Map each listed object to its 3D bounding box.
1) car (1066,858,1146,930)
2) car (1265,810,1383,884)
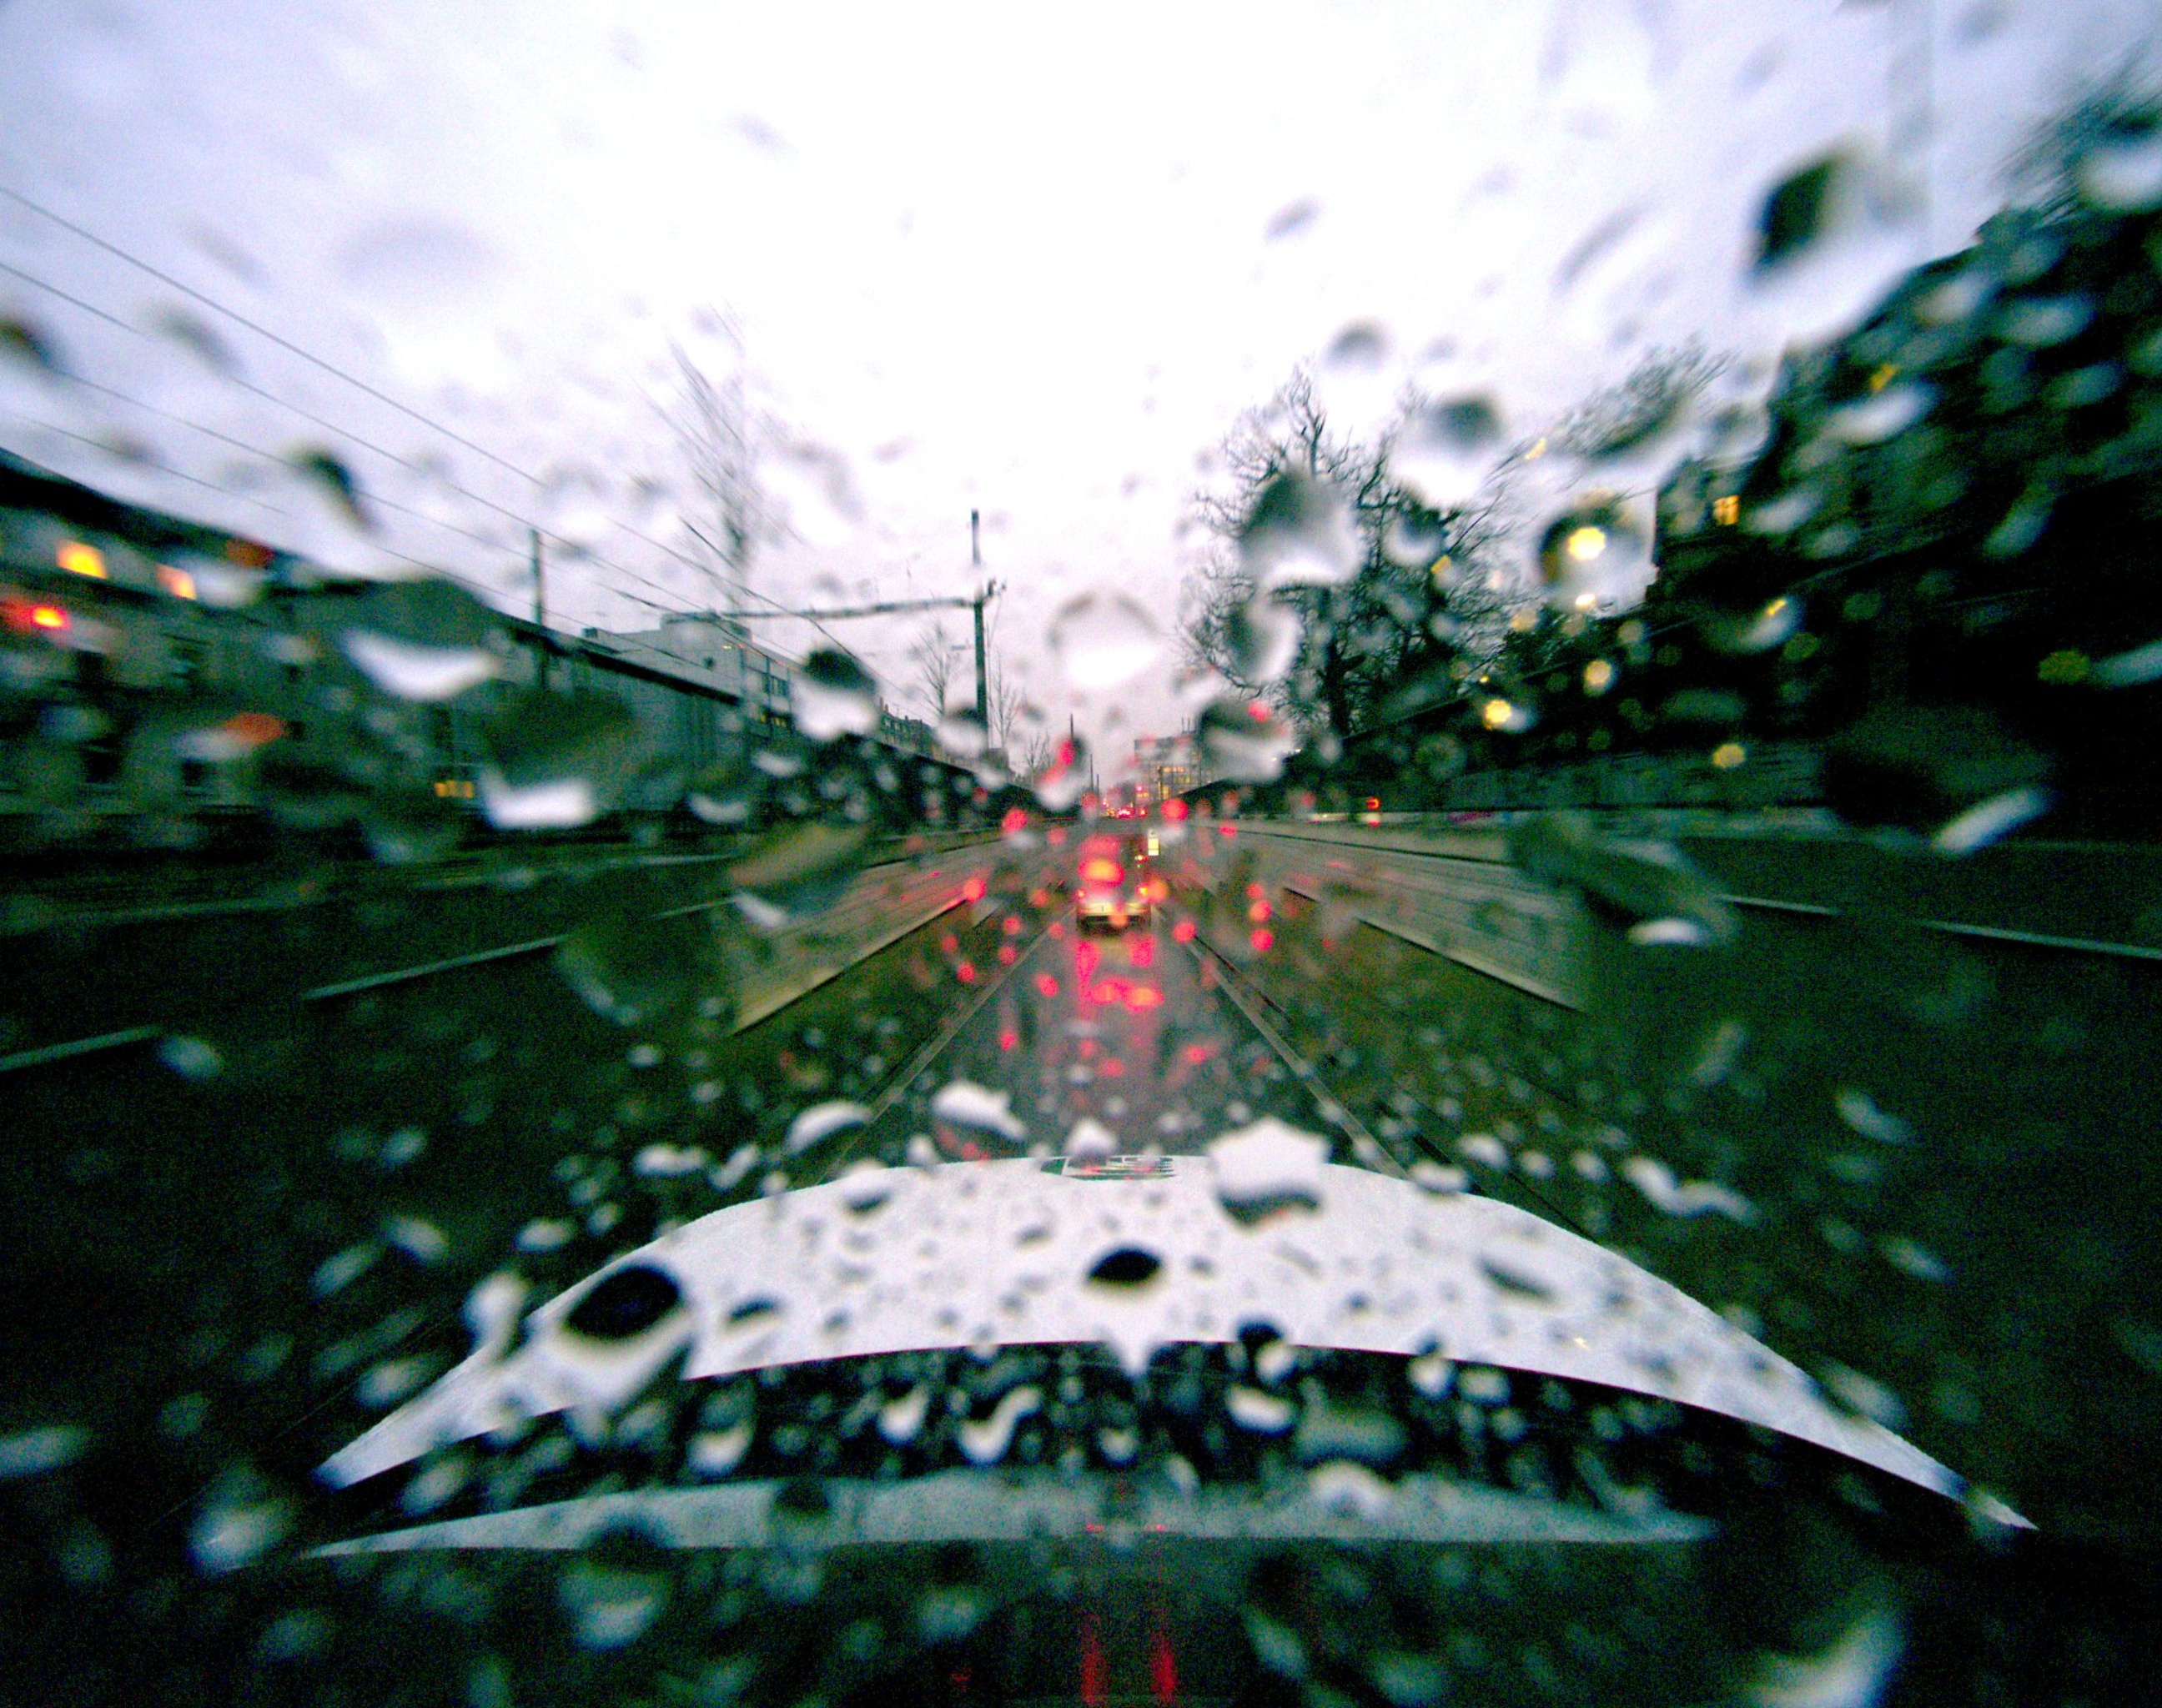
[{"bbox_3d":[0.693,0.876,19.619,1.714,1.479,4.005,0,1,4],"label":"car"},{"bbox_3d":[5.291,-0.214,18.237,1.714,1.479,4.006,0,2,4],"label":"car"}]
